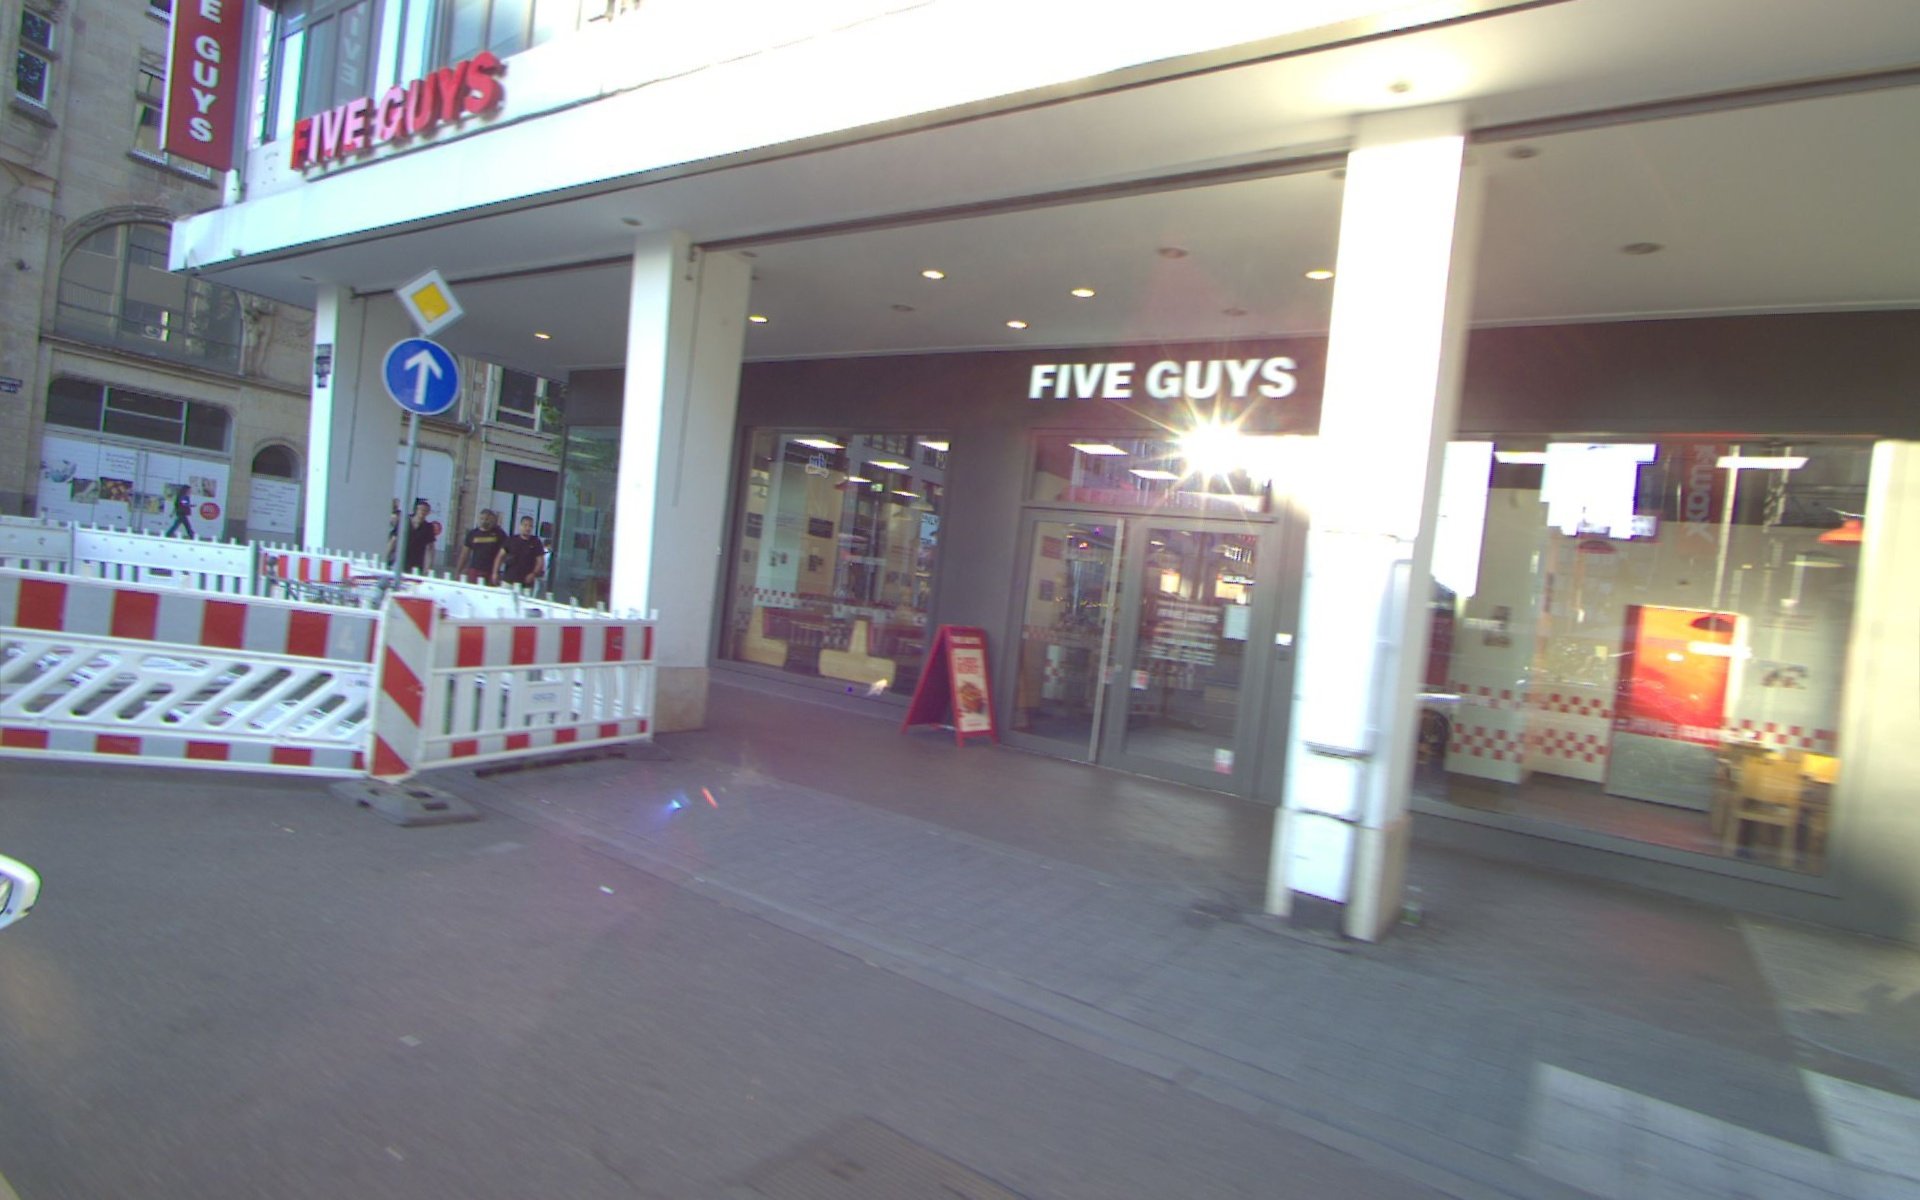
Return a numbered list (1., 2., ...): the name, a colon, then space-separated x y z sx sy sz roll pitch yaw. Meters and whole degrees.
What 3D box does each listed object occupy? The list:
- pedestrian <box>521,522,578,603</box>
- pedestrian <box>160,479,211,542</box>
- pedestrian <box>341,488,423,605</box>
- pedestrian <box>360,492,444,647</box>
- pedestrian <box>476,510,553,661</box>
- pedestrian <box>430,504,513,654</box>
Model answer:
1. pedestrian: -9.602 -0.883 23.551 0.702 1.755 0.777 7 0 33
2. pedestrian: -22.000 -2.544 28.569 0.702 1.630 0.820 7 0 33
3. pedestrian: -9.464 -0.864 16.496 0.658 1.790 0.724 7 0 20
4. pedestrian: -7.753 -0.408 14.002 0.696 2.038 0.470 8 0 -15
5. pedestrian: -6.329 -0.199 14.314 0.696 2.038 0.470 8 0 -15
6. pedestrian: -7.078 -0.298 14.603 0.769 2.038 0.516 8 0 -15
